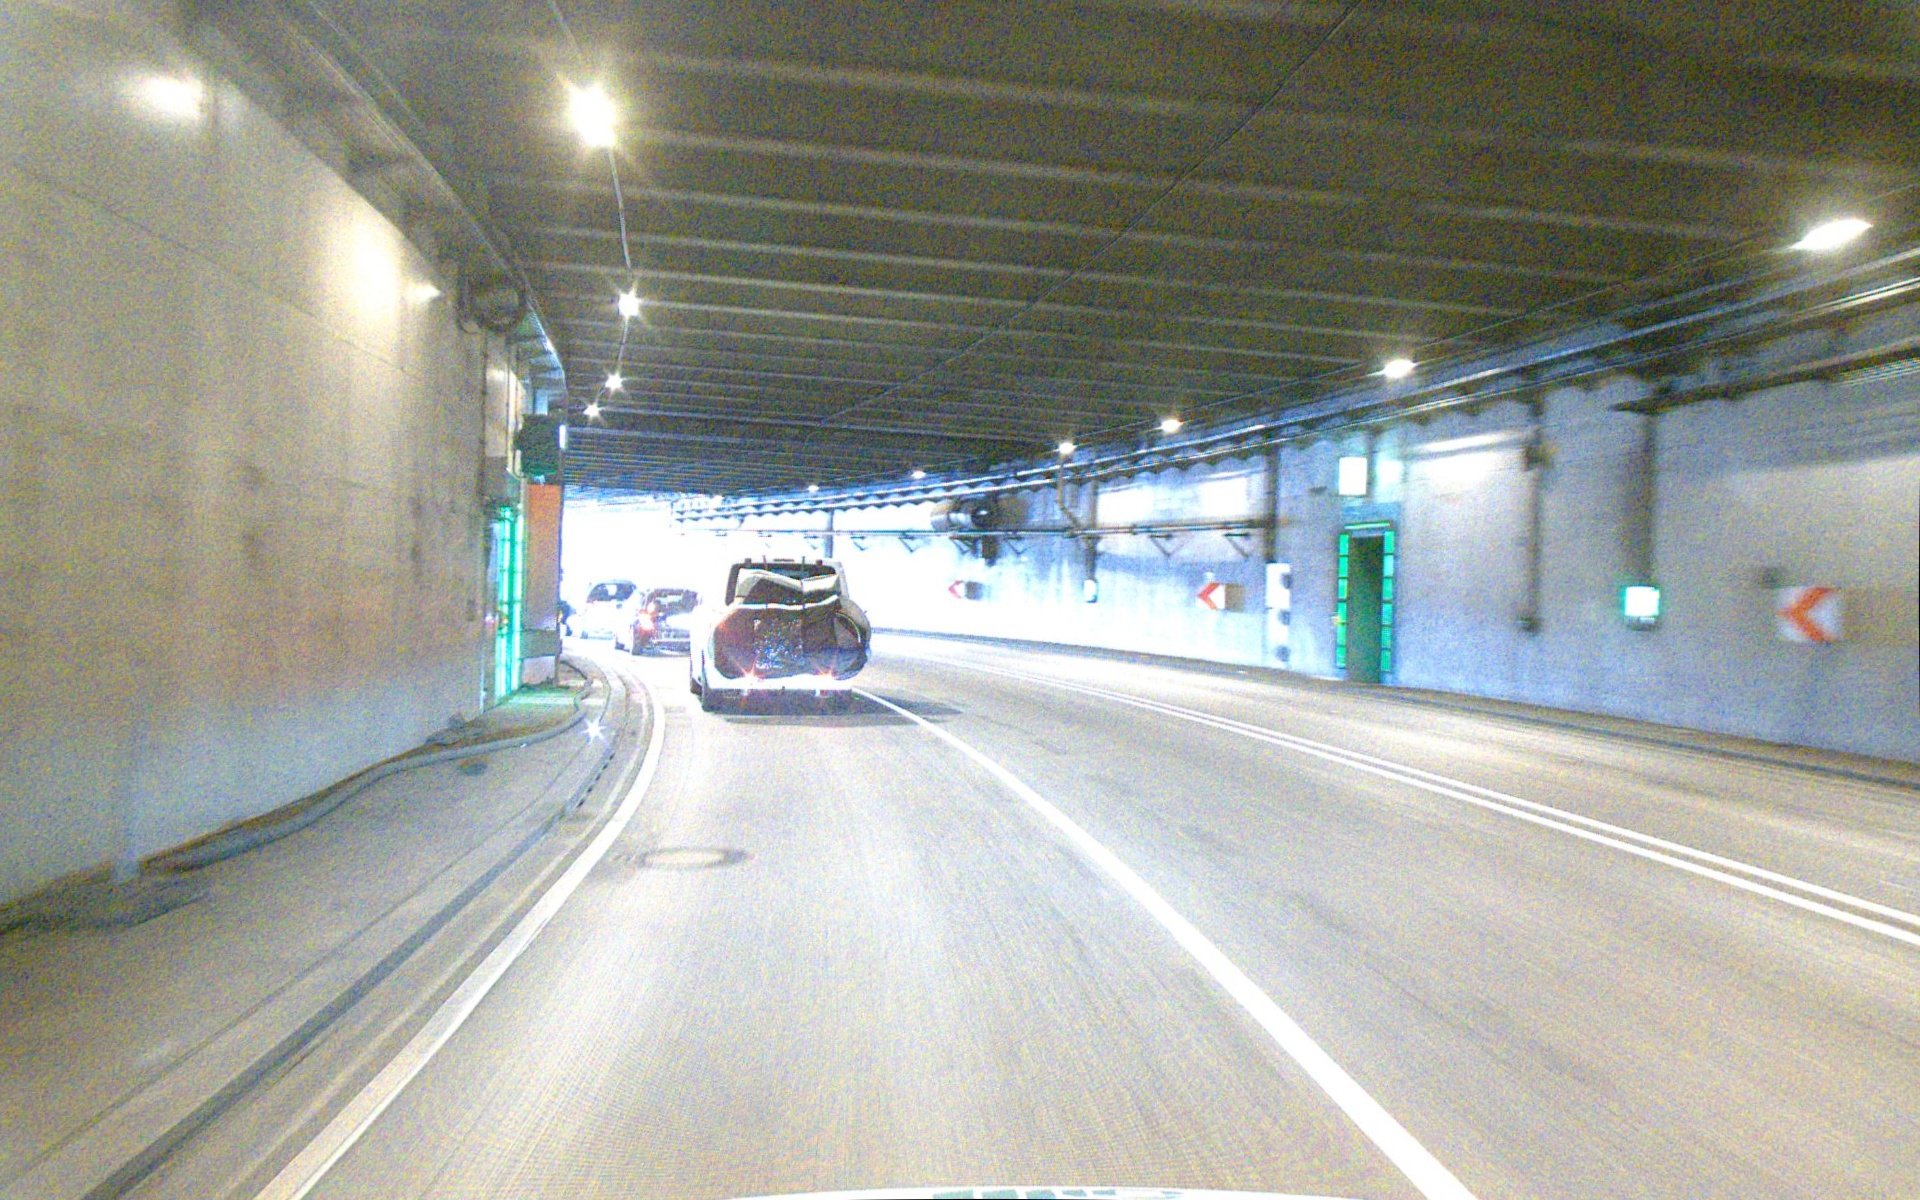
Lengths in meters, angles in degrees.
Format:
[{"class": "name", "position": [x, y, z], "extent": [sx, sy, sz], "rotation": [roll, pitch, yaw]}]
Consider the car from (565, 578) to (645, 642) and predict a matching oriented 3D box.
[{"class": "car", "position": [-9.530, 0.251, 44.209], "extent": [1.579, 1.622, 3.335], "rotation": [2, 0, -21]}]

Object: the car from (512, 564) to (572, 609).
[{"class": "car", "position": [-16.407, -0.509, 64.875], "extent": [1.583, 1.659, 3.327], "rotation": [2, -1, -27]}]

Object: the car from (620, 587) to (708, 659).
[{"class": "car", "position": [-6.329, 0.457, 35.173], "extent": [1.576, 1.420, 3.264], "rotation": [0, 1, -15]}]

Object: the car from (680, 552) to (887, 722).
[{"class": "car", "position": [-2.400, 0.377, 21.168], "extent": [1.959, 1.879, 5.283], "rotation": [1, 1, -14]}]
